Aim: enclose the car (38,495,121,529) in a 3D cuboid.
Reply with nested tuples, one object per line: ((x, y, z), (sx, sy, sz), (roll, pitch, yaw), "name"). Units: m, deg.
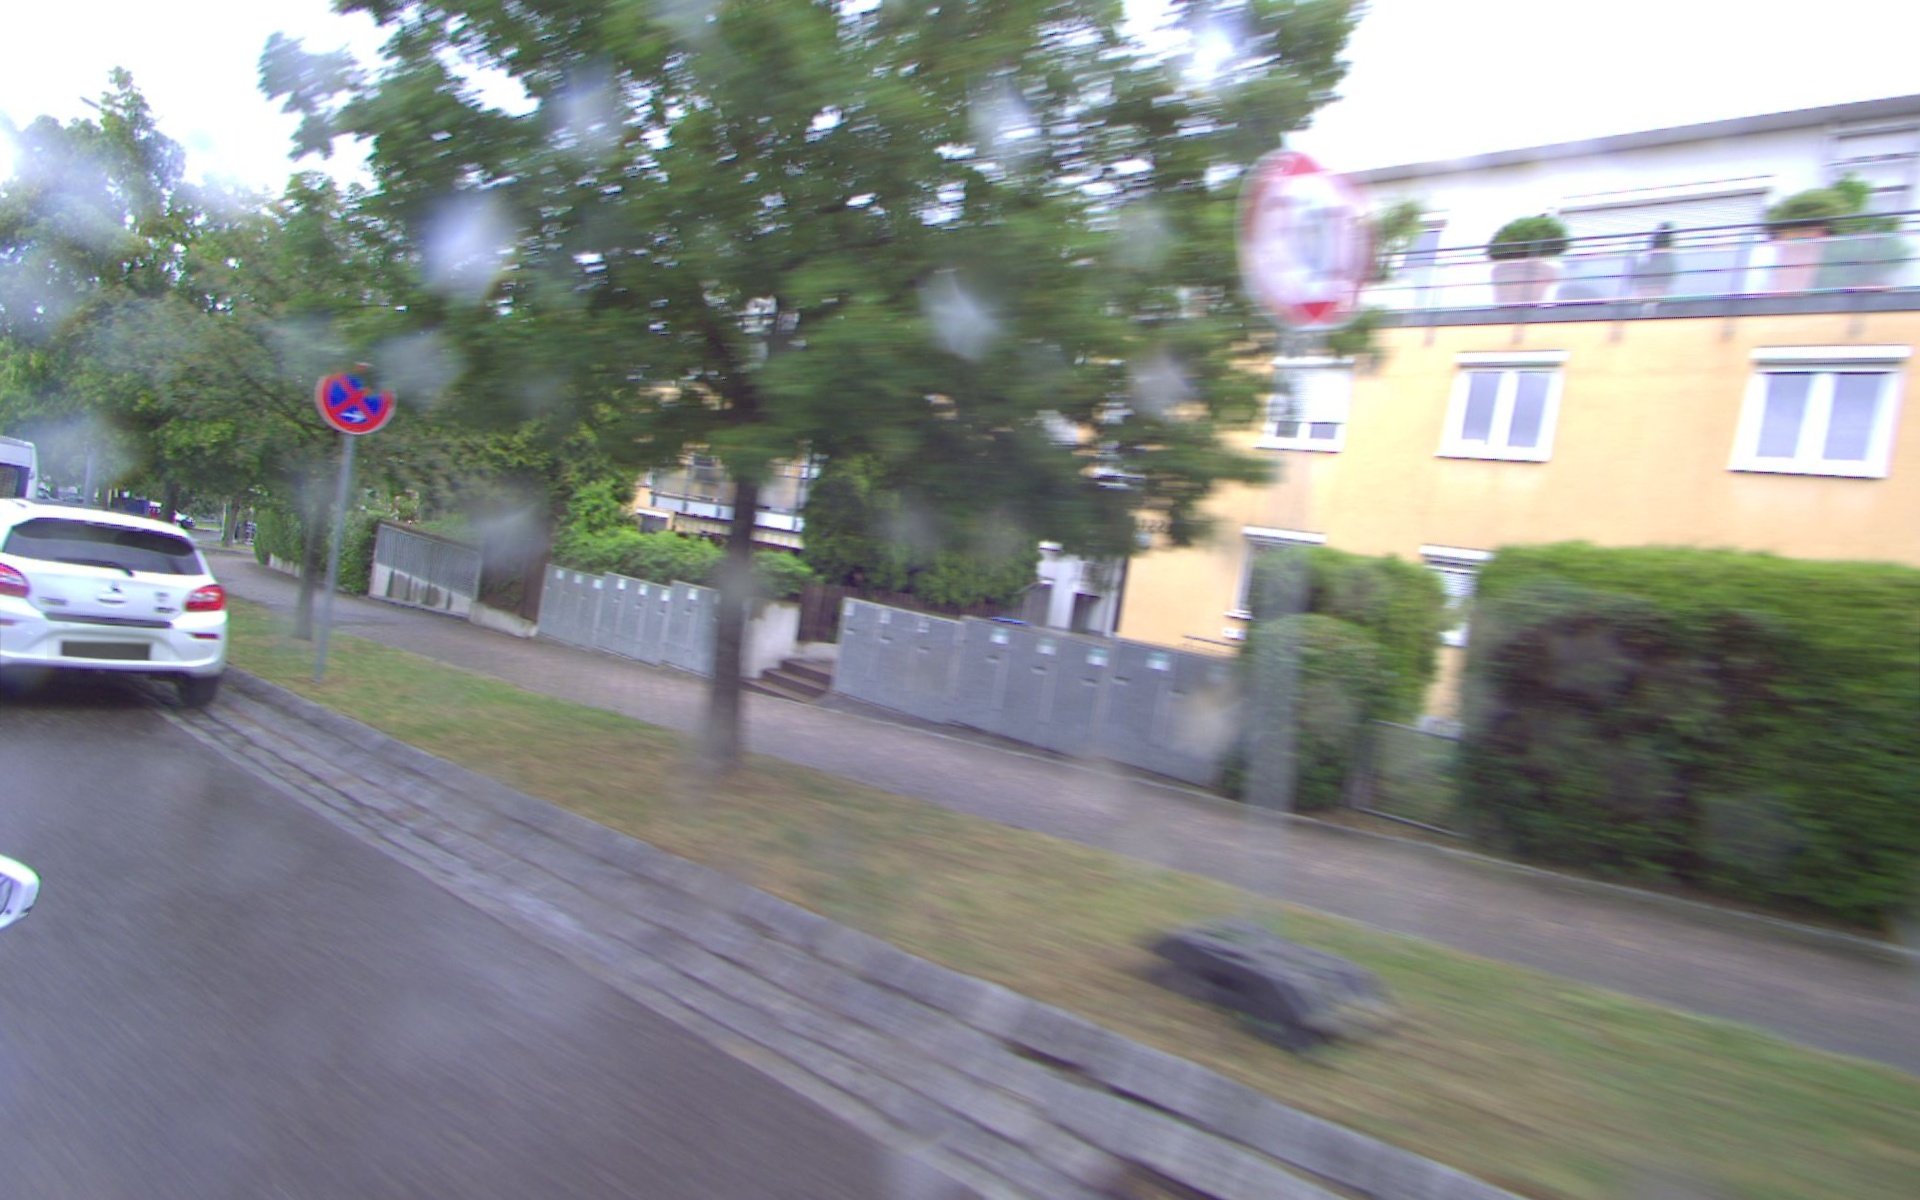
((-59.651, -5.948, 68.261), (3.843, 1.565, 1.759), (9, -1, -31), "car")

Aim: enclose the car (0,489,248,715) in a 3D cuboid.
((-7.645, -0.086, 8.519), (3.672, 1.520, 1.605), (6, -2, 39), "car")

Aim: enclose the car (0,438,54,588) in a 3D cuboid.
((-18.750, -1.794, 18.788), (5.436, 2.496, 2.114), (7, -1, 44), "car")

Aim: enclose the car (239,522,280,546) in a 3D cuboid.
((-57.634, -5.413, 82.815), (1.669, 1.570, 3.680), (9, 0, -19), "car")

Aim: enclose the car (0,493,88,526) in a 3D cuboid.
((-56.001, -5.513, 61.285), (3.957, 1.377, 1.840), (7, 0, -31), "car")

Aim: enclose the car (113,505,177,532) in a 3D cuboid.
((-65.038, -6.503, 80.328), (3.531, 1.625, 1.681), (7, 0, -28), "car")
